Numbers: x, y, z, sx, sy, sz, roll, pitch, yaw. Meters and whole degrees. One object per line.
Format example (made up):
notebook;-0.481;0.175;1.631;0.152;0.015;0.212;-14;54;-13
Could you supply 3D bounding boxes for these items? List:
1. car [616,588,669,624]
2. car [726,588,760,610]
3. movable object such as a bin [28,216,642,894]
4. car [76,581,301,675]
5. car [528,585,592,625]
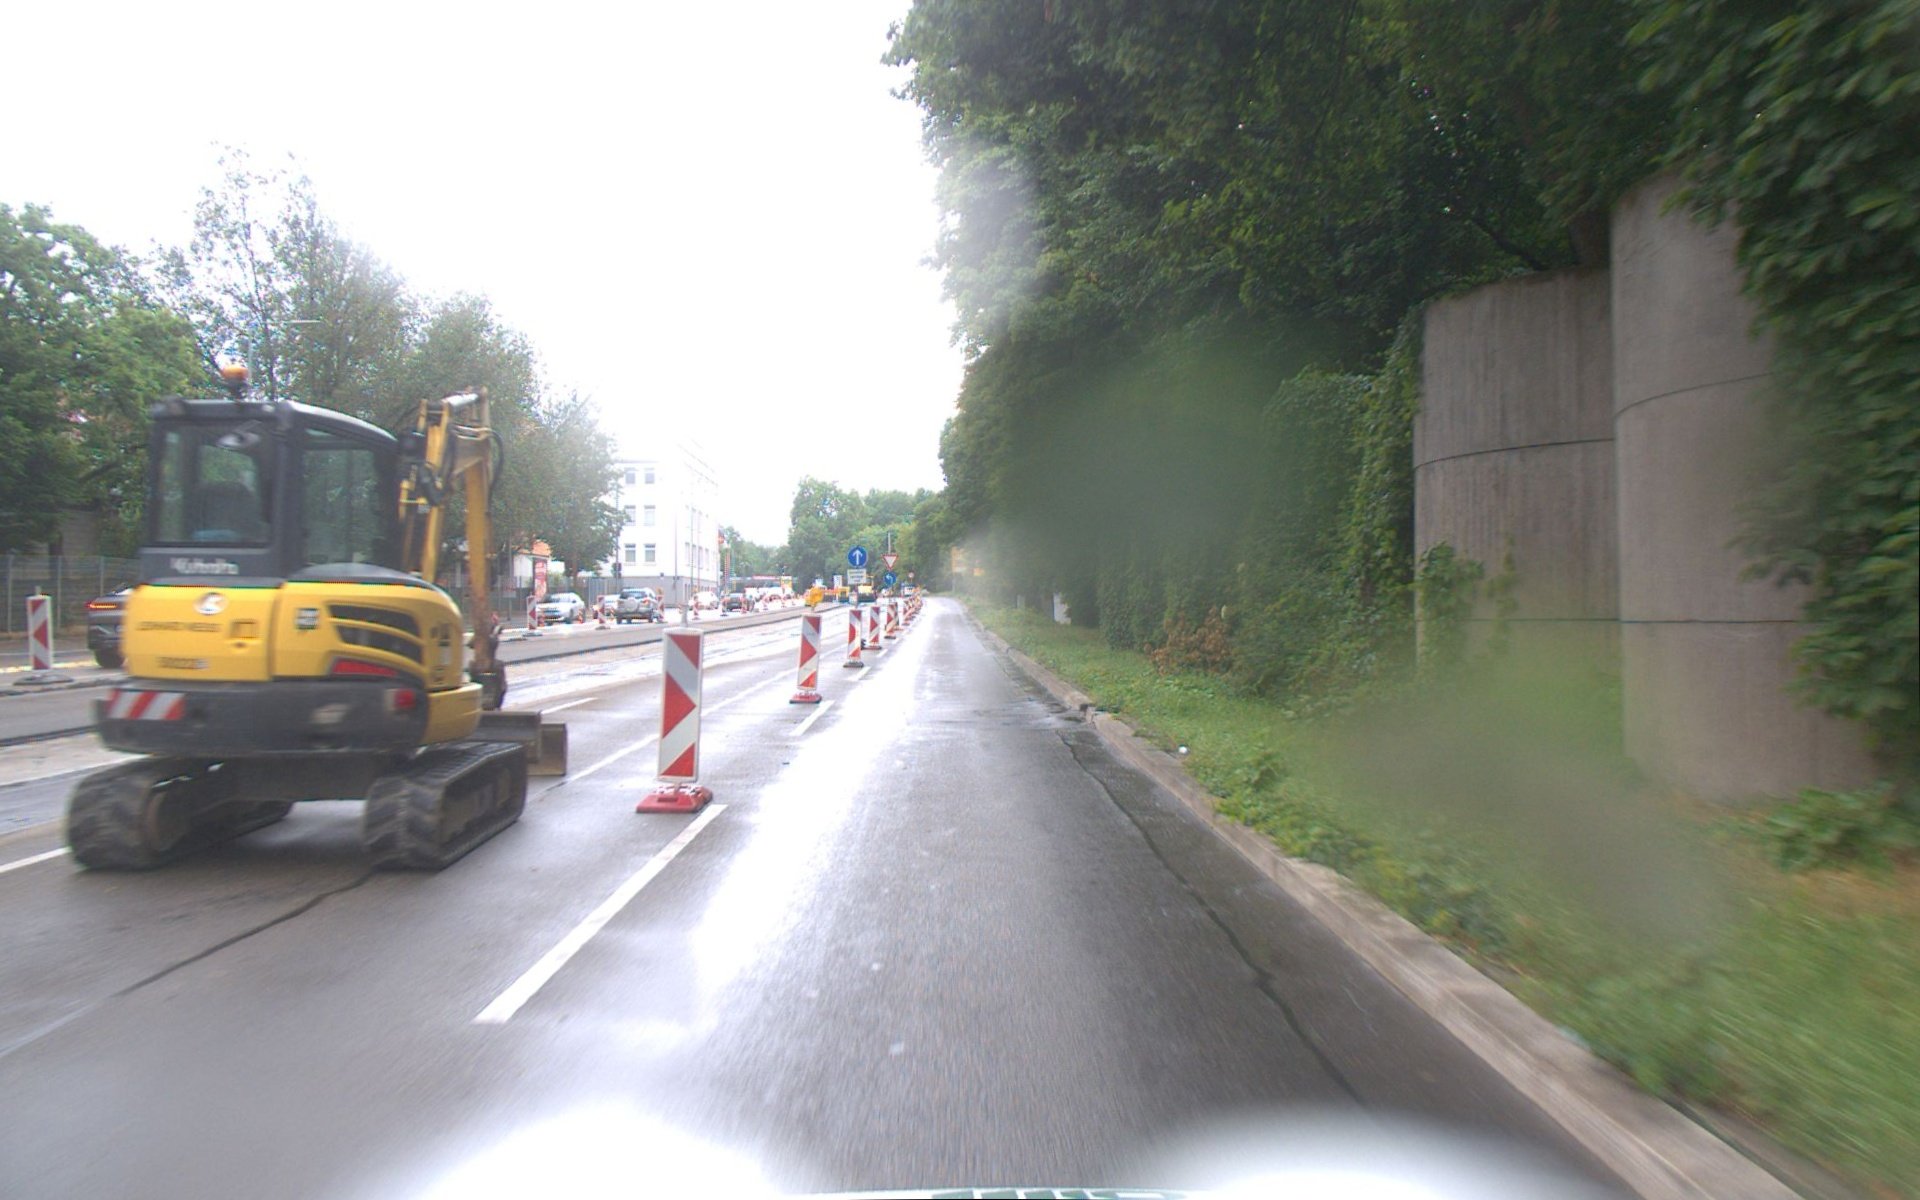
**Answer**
car;-15.315;0.285;79.960;1.817;1.677;3.999;1;0;-1
car;-15.544;-0.056;118.896;1.953;1.545;3.999;1;0;-1
movable object such as a bin;-3.751;-0.220;11.409;1.953;3.426;5.981;1;0;0
car;-14.754;0.505;32.000;2.034;1.641;5.055;1;0;-1
car;-18.594;0.220;77.055;1.953;1.797;4.278;1;0;0
